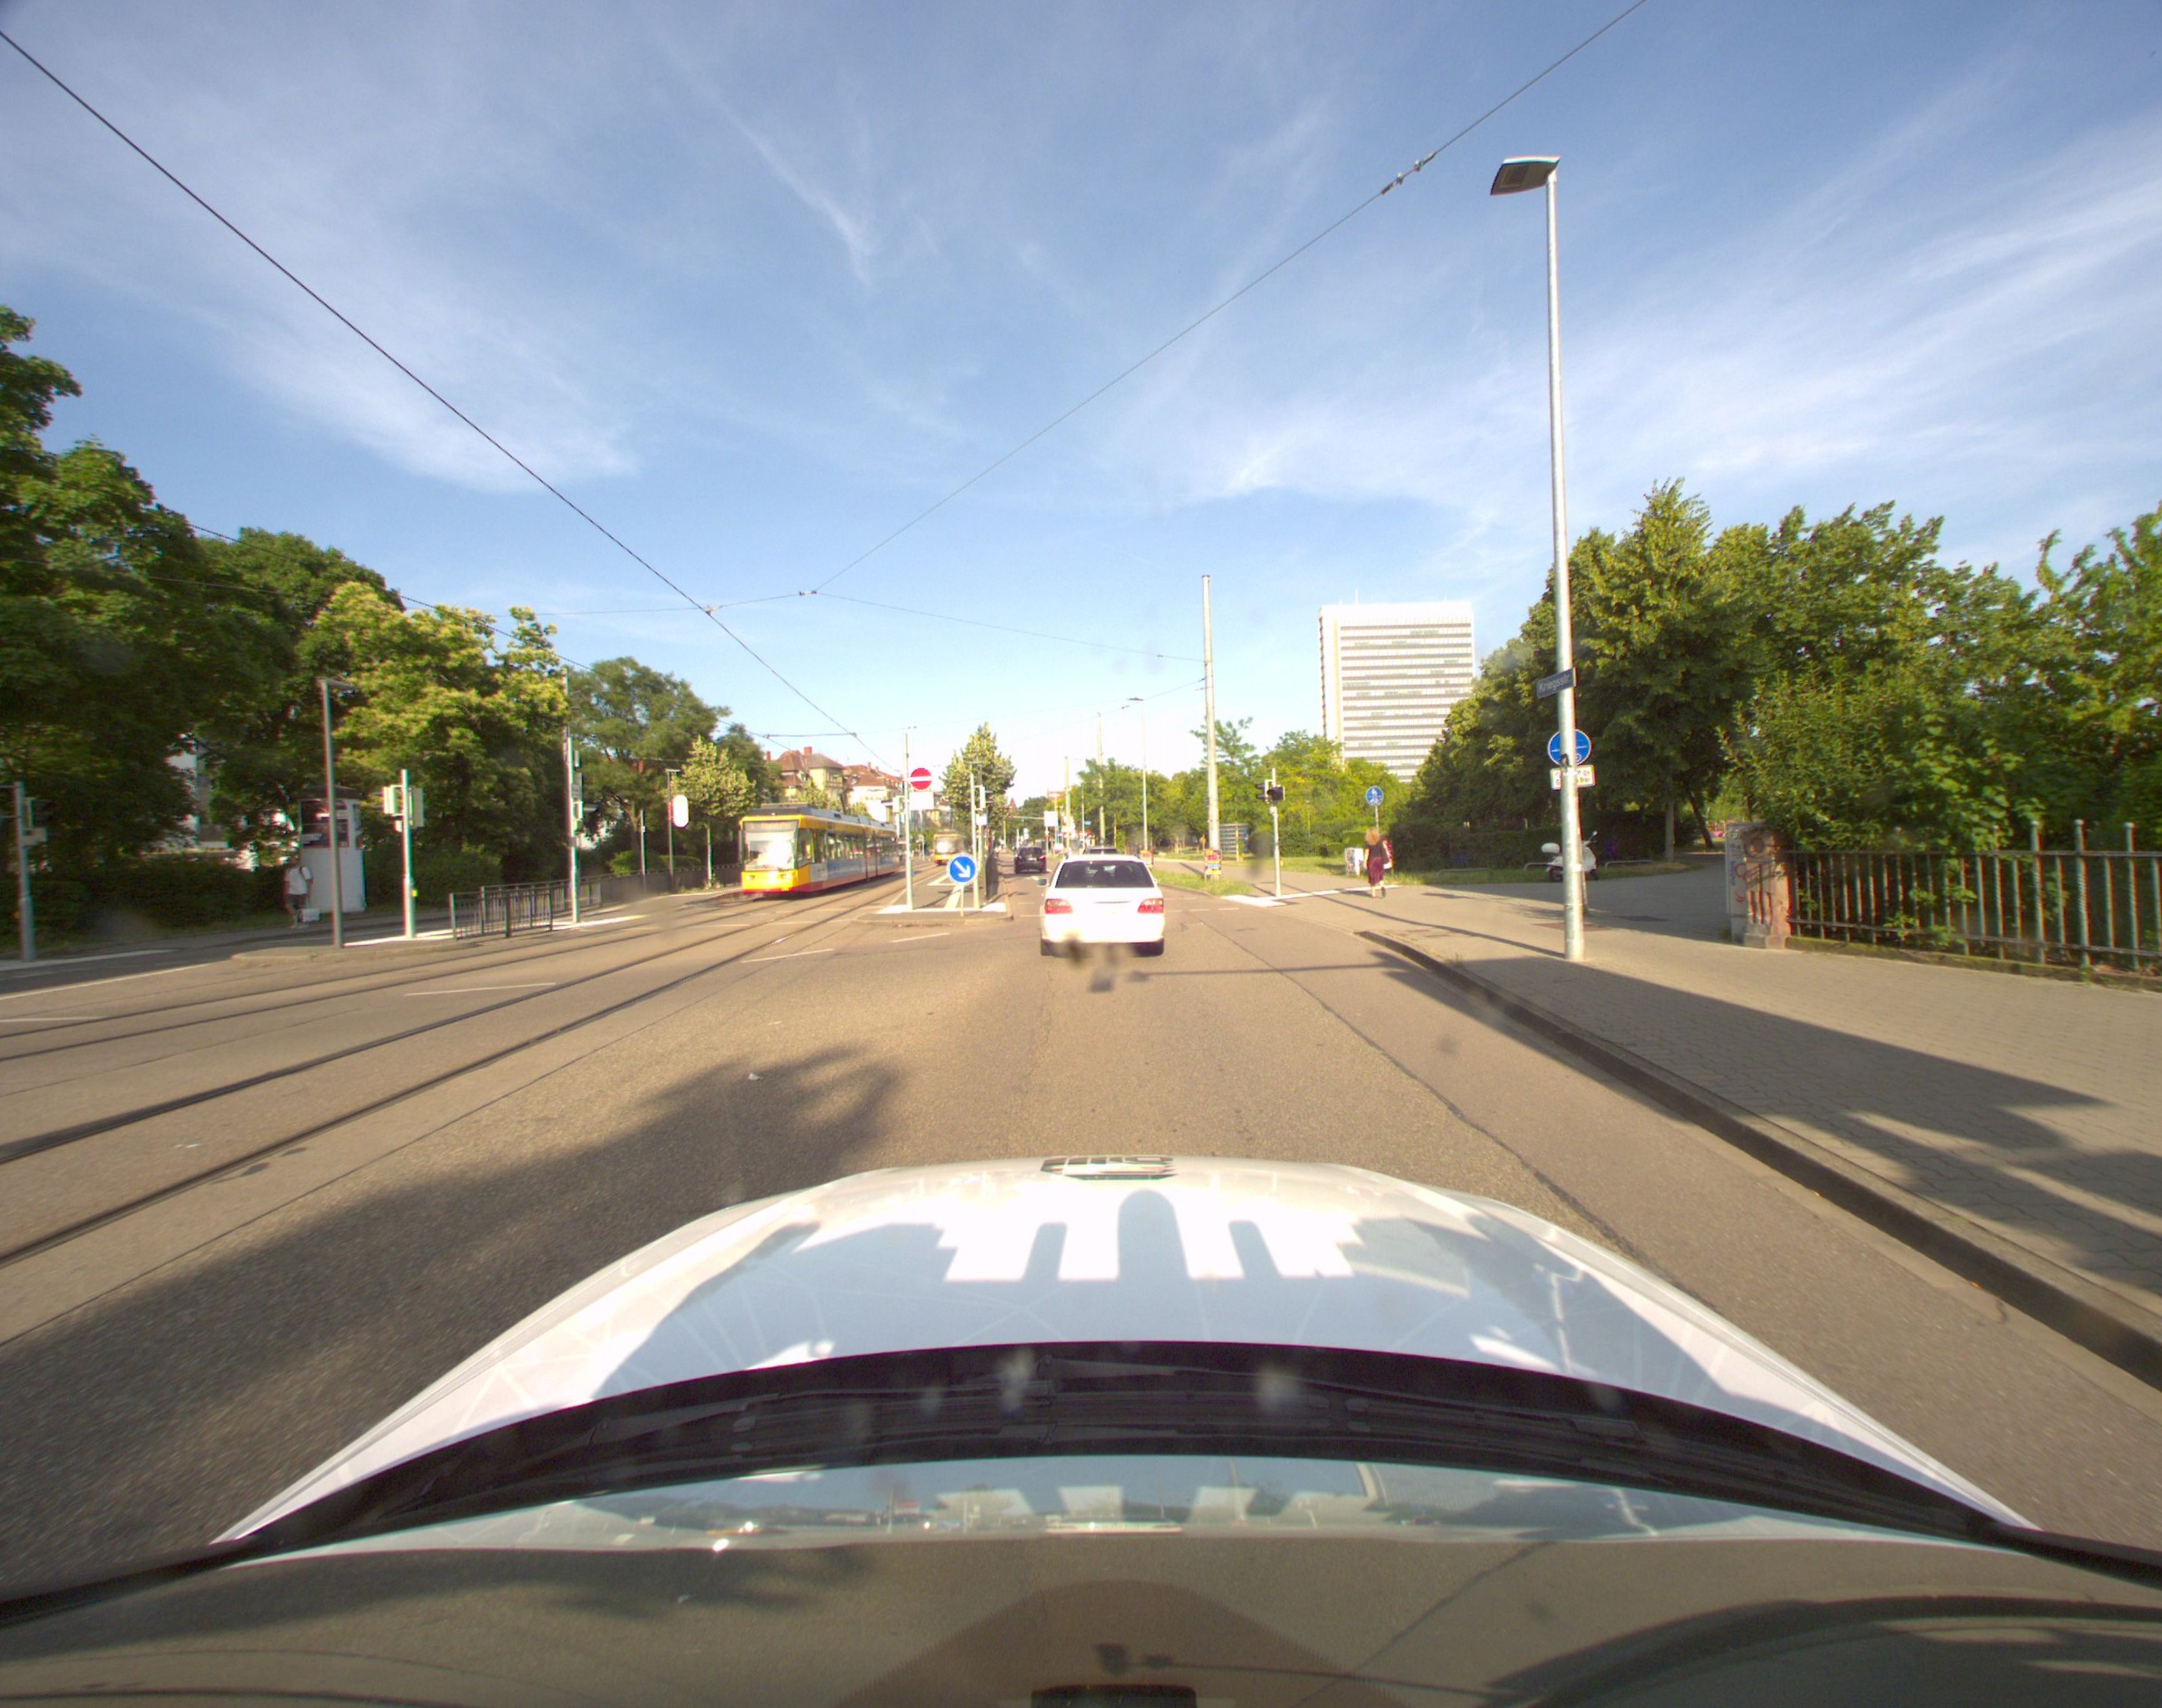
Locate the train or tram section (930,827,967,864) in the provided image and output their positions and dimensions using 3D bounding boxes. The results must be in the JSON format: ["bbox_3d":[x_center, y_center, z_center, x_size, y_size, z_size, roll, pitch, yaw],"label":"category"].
[{"bbox_3d":[-13.269,-0.896,82.632,2.846,3.479,13.173,-1,1,-6],"label":"train or tram section"}]

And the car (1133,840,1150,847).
[{"bbox_3d":[15.979,-2.717,214.184,4.015,1.651,1.979,-2,1,-33],"label":"car"}]

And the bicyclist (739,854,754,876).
[{"bbox_3d":[-21.849,0.699,53.241,0.649,1.413,0.716,-1,1,-4],"label":"bicyclist"}]

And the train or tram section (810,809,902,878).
[{"bbox_3d":[-13.072,-0.670,48.888,3.159,3.479,14.437,-1,1,-7],"label":"train or tram section"}]

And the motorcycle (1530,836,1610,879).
[{"bbox_3d":[13.839,0.099,23.054,1.997,1.159,0.705,-1,1,-12],"label":"motorcycle"}]

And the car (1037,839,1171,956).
[{"bbox_3d":[0.203,0.578,12.806,1.754,1.503,3.995,-2,0,-3],"label":"car"}]

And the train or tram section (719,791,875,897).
[{"bbox_3d":[-11.353,-0.454,34.558,3.159,3.479,14.498,-1,1,-7],"label":"train or tram section"}]

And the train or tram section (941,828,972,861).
[{"bbox_3d":[-14.492,-1.134,95.376,2.846,3.479,13.173,-1,1,-6],"label":"train or tram section"}]

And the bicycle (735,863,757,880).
[{"bbox_3d":[-21.889,1.100,53.227,0.540,1.018,2.248,-1,1,-3],"label":"bicycle"}]

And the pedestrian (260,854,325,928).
[{"bbox_3d":[-21.221,0.980,21.938,1.005,1.909,0.704,-1,1,-19],"label":"pedestrian"}]

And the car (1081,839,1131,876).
[{"bbox_3d":[1.094,0.118,37.304,2.028,1.605,3.997,-1,1,-2],"label":"car"}]

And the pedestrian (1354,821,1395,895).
[{"bbox_3d":[7.000,0.093,19.434,0.613,1.691,0.548,-7,1,-2],"label":"pedestrian"}]

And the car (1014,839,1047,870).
[{"bbox_3d":[-2.938,0.007,47.834,1.782,1.689,3.998,-1,1,-2],"label":"car"}]
